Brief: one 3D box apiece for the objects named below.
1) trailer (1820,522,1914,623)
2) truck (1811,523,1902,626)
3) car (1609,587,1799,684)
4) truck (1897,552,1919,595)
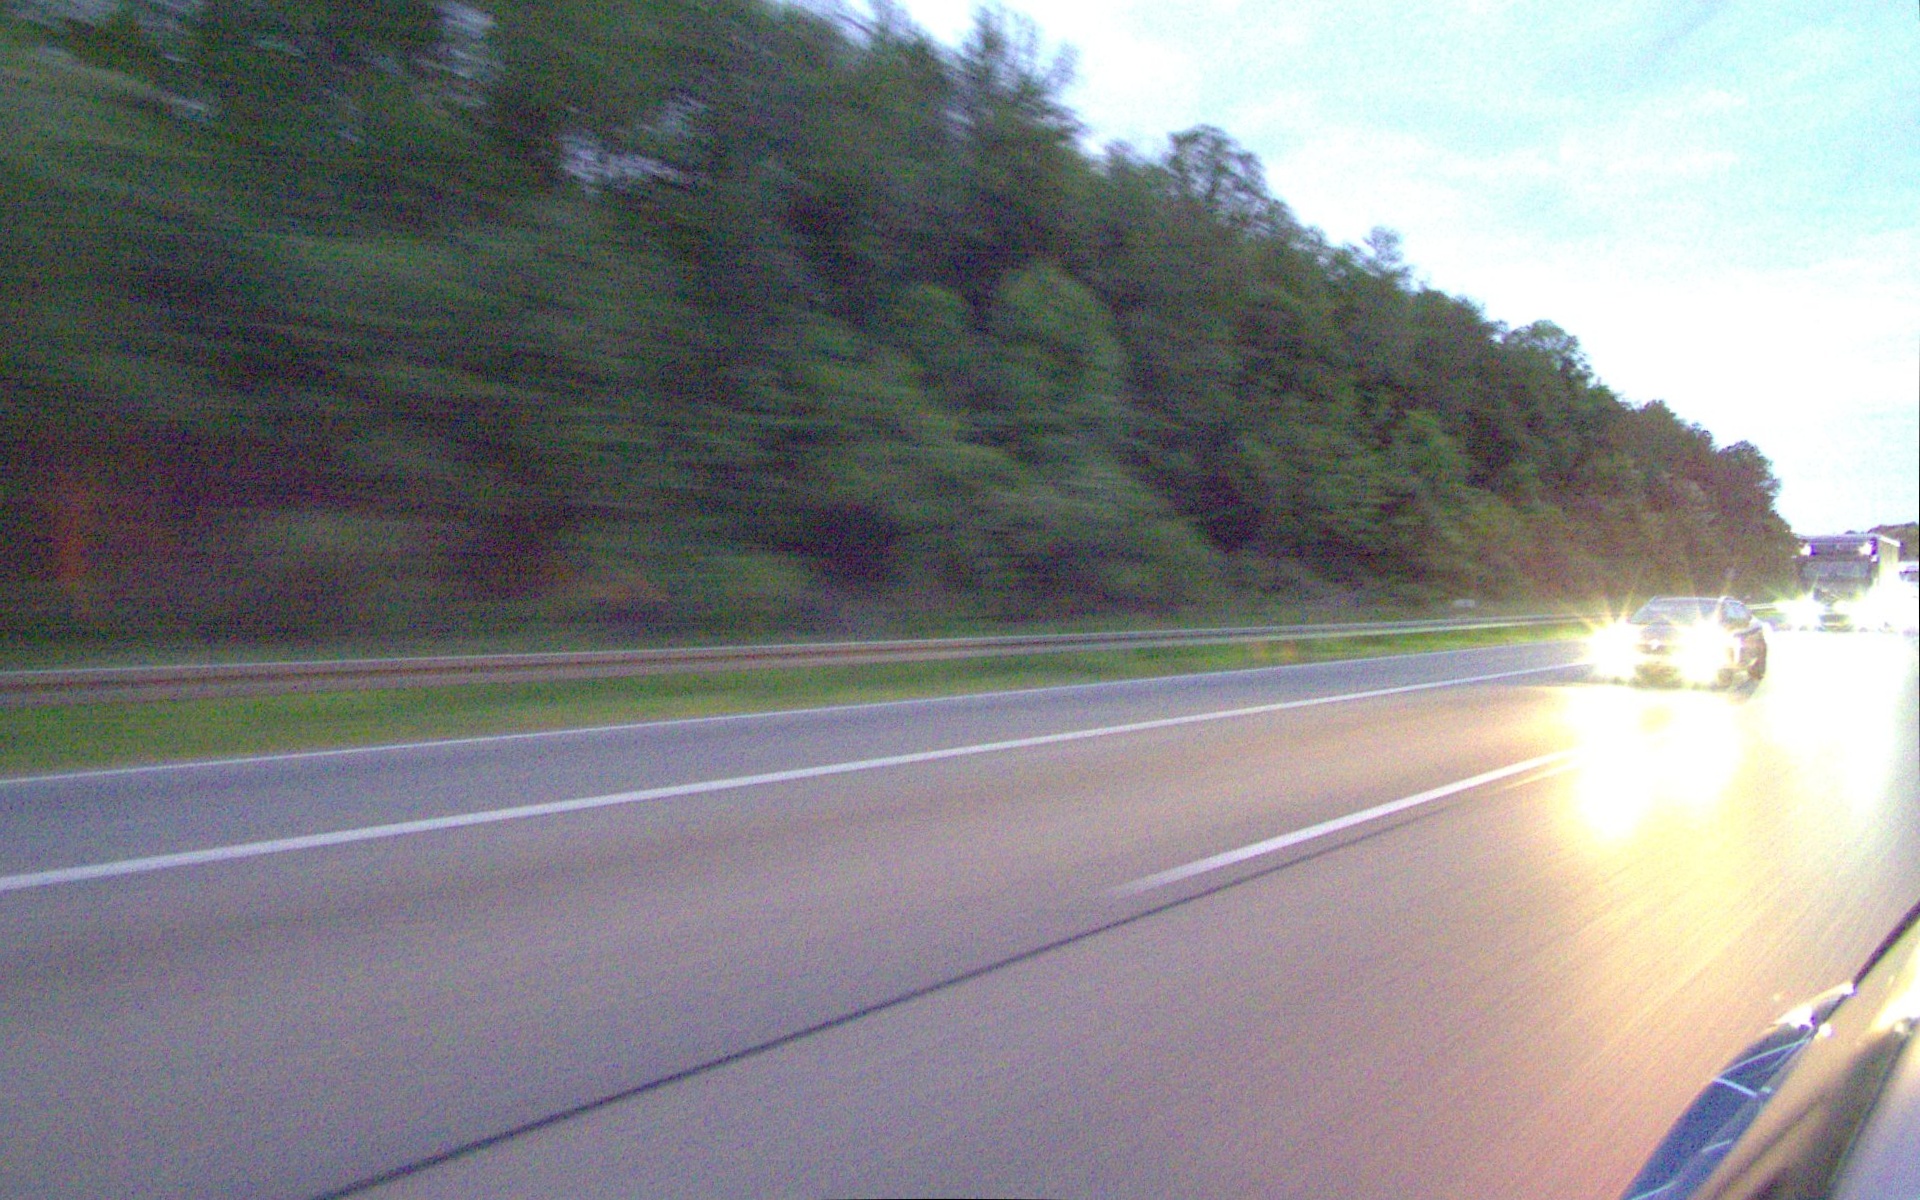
[{"bbox_3d":[42.077,-1.284,46.769,13.287,4.123,2.484,-2,1,-45],"label":"trailer"},{"bbox_3d":[37.311,-1.069,42.042,5.500,4.017,2.493,-2,1,-45],"label":"truck"},{"bbox_3d":[13.392,0.555,18.102,4.862,1.509,1.694,0,0,-41],"label":"car"},{"bbox_3d":[94.745,-2.660,99.702,3.333,4.017,13.324,0,1,44],"label":"truck"}]
